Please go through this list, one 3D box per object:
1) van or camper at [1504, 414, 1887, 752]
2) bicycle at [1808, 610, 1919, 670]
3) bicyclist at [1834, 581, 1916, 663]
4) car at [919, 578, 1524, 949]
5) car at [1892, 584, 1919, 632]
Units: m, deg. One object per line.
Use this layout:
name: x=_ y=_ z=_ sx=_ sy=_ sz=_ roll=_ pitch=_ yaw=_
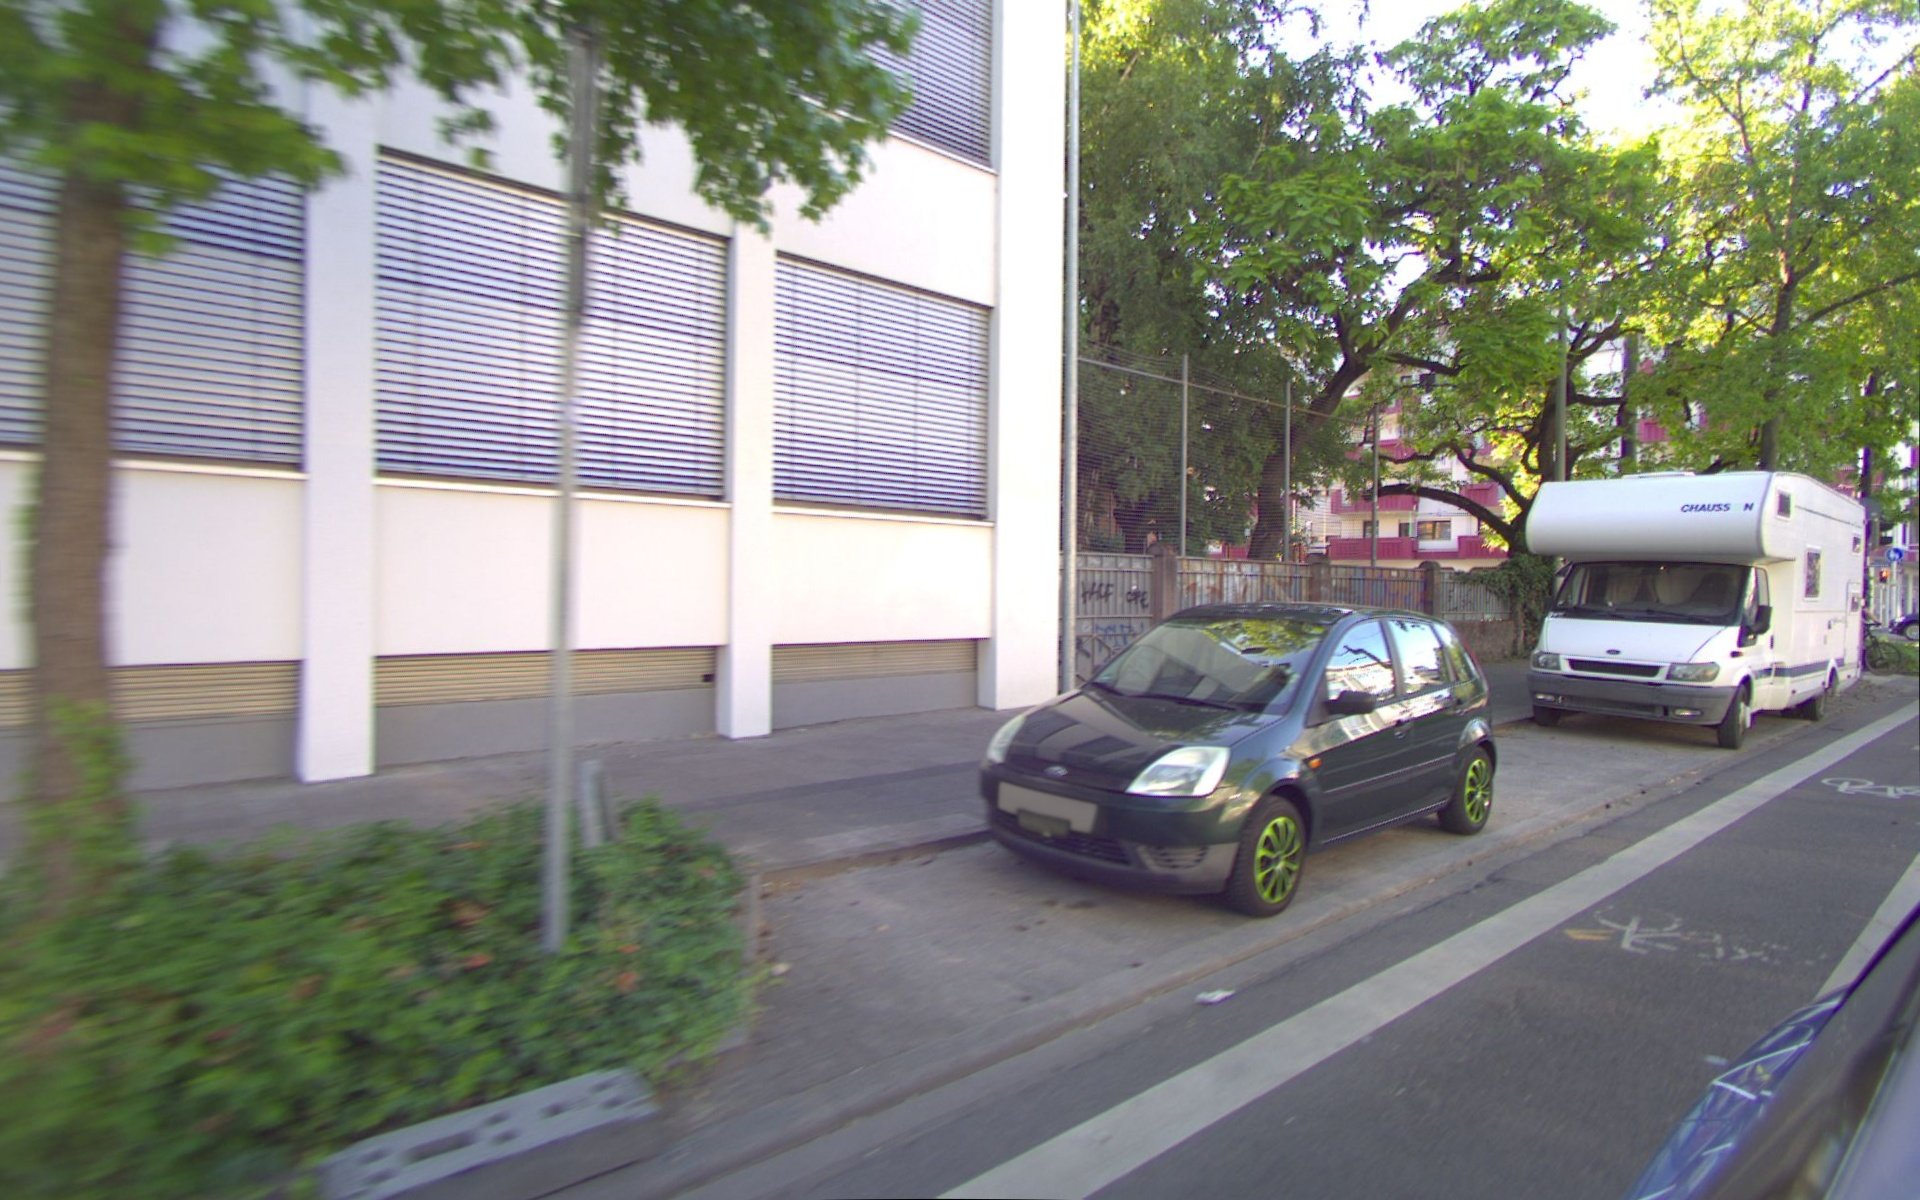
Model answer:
van or camper: x=9.395 y=-0.206 z=12.548 sx=7.161 sy=3.131 sz=2.172 roll=0 pitch=2 yaw=-41
bicycle: x=18.397 y=0.795 z=20.235 sx=2.057 sy=1.142 sz=0.755 roll=0 pitch=0 yaw=20
bicyclist: x=18.309 y=0.426 z=20.270 sx=0.995 sy=1.596 sz=0.755 roll=0 pitch=0 yaw=19
car: x=1.727 y=0.645 z=5.970 sx=3.735 sy=1.465 sz=1.655 roll=0 pitch=2 yaw=-42
car: x=36.609 y=0.296 z=35.825 sx=1.877 sy=1.726 sz=5.080 roll=0 pitch=1 yaw=-37
